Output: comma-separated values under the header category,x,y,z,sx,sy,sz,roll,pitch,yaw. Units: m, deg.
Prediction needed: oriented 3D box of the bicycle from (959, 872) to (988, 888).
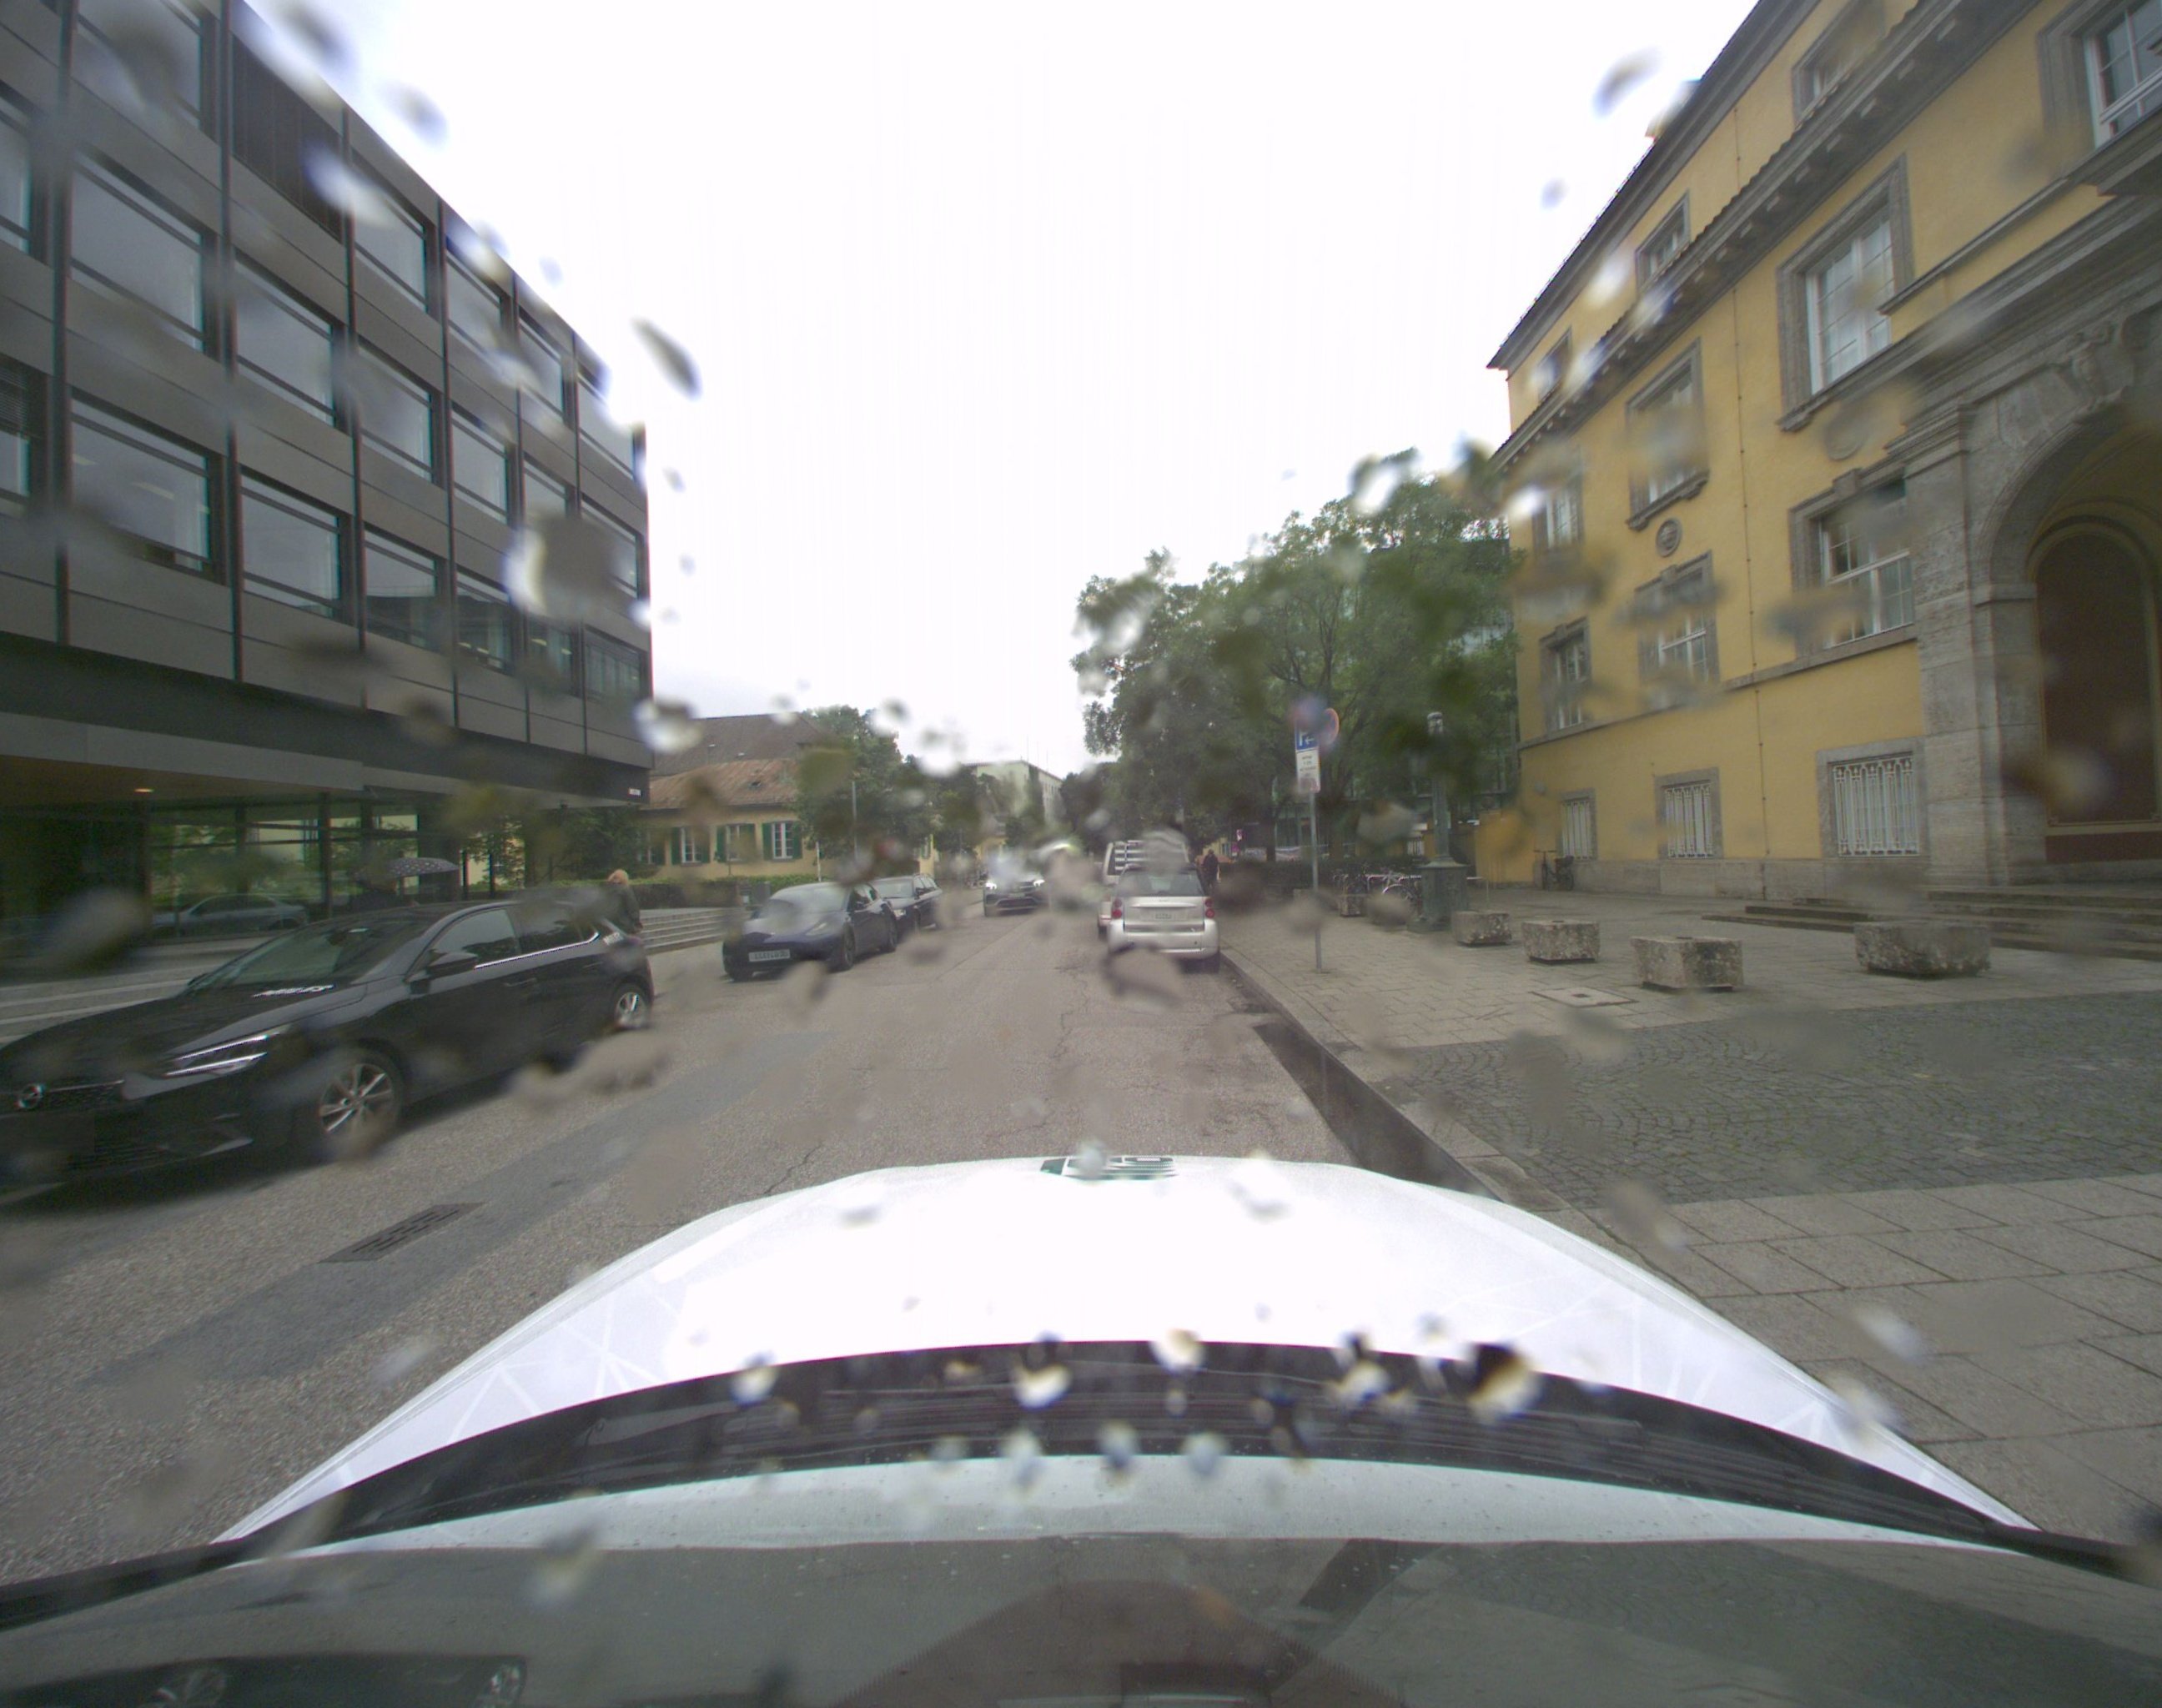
category,x,y,z,sx,sy,sz,roll,pitch,yaw
bicycle,-7.417,1.800,56.215,1.921,1.099,0.615,0,-1,5

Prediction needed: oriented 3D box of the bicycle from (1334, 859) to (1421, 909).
category,x,y,z,sx,sy,sz,roll,pitch,yaw
bicycle,7.427,0.742,20.445,1.923,1.113,0.472,-4,-1,4

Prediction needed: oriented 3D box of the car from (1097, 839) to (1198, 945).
category,x,y,z,sx,sy,sz,roll,pitch,yaw
car,1.281,0.729,17.593,1.838,1.933,5.273,0,-1,1

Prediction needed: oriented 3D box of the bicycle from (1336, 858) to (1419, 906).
category,x,y,z,sx,sy,sz,roll,pitch,yaw
bicycle,7.724,0.730,21.228,1.923,1.113,0.472,-4,-1,3

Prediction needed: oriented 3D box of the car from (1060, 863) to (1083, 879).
category,x,y,z,sx,sy,sz,roll,pitch,yaw
car,-0.959,1.790,88.045,1.984,1.648,4.661,-2,-1,5

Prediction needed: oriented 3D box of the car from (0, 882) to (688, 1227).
category,x,y,z,sx,sy,sz,roll,pitch,yaw
car,-4.945,1.061,6.003,1.732,1.461,4.240,-5,-1,3

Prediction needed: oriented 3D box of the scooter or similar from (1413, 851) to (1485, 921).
category,x,y,z,sx,sy,sz,roll,pitch,yaw
scooter or similar,6.730,0.593,14.907,0.541,1.222,1.000,-3,-1,-43

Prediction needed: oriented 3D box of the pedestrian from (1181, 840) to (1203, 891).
category,x,y,z,sx,sy,sz,roll,pitch,yaw
pedestrian,4.809,0.490,35.375,0.740,2.135,1.056,-3,-1,1

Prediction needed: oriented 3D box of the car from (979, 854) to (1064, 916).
category,x,y,z,sx,sy,sz,roll,pitch,yaw
car,-1.786,0.919,26.114,2.016,1.689,4.681,-3,-1,3

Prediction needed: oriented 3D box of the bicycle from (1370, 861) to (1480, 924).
category,x,y,z,sx,sy,sz,roll,pitch,yaw
bicycle,6.822,0.752,16.195,1.926,1.113,0.471,-4,-1,-1

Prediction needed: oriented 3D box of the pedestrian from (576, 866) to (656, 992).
category,x,y,z,sx,sy,sz,roll,pitch,yaw
pedestrian,-6.863,1.071,12.065,0.754,1.749,0.948,-2,-1,-14

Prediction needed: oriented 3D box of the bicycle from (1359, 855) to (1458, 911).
category,x,y,z,sx,sy,sz,roll,pitch,yaw
bicycle,7.275,0.644,18.140,1.923,1.113,0.472,-4,-1,4

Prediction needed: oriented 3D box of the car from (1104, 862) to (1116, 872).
category,x,y,z,sx,sy,sz,roll,pitch,yaw
car,5.045,2.275,142.188,1.802,1.683,4.005,-3,-1,4

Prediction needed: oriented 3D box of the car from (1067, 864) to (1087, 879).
category,x,y,z,sx,sy,sz,roll,pitch,yaw
car,-0.462,1.972,93.114,1.985,1.603,4.003,-2,-2,4

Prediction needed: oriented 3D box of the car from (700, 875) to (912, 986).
category,x,y,z,sx,sy,sz,roll,pitch,yaw
car,-4.506,1.168,14.296,1.916,1.439,4.917,-4,-1,0

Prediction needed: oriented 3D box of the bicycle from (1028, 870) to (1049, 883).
category,x,y,z,sx,sy,sz,roll,pitch,yaw
bicycle,-3.699,1.958,71.006,0.615,1.004,2.154,0,0,35

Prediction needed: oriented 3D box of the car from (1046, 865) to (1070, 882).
category,x,y,z,sx,sy,sz,roll,pitch,yaw
car,-2.114,1.793,75.477,1.725,1.581,3.793,0,-1,5

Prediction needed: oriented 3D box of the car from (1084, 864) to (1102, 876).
category,x,y,z,sx,sy,sz,roll,pitch,yaw
car,1.681,2.112,110.917,1.983,1.486,4.007,-3,-1,6

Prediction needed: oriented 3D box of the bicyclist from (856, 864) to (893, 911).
category,x,y,z,sx,sy,sz,roll,pitch,yaw
bicyclist,-6.877,1.125,27.129,1.095,1.498,0.669,-2,-3,-21

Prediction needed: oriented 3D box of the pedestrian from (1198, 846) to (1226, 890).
category,x,y,z,sx,sy,sz,roll,pitch,yaw
pedestrian,5.822,0.606,36.226,0.735,1.907,1.062,-4,-1,37

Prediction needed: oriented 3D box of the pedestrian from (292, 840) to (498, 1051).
category,x,y,z,sx,sy,sz,roll,pitch,yaw
pedestrian,-7.210,0.908,8.644,1.131,2.055,1.221,-1,-1,1

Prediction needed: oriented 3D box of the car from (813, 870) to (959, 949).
category,x,y,z,sx,sy,sz,roll,pitch,yaw
car,-4.468,1.221,19.561,1.985,1.491,4.887,-4,-1,3

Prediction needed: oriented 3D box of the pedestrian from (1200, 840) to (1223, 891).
category,x,y,z,sx,sy,sz,roll,pitch,yaw
pedestrian,5.596,0.485,35.019,0.740,2.135,1.056,-3,-1,1

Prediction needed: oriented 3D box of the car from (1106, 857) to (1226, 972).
category,x,y,z,sx,sy,sz,roll,pitch,yaw
car,1.210,0.839,12.488,1.599,1.546,2.935,0,-1,2

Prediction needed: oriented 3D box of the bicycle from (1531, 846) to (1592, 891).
category,x,y,z,sx,sy,sz,roll,pitch,yaw
bicycle,13.141,0.376,22.330,0.540,1.154,1.902,-3,0,1
